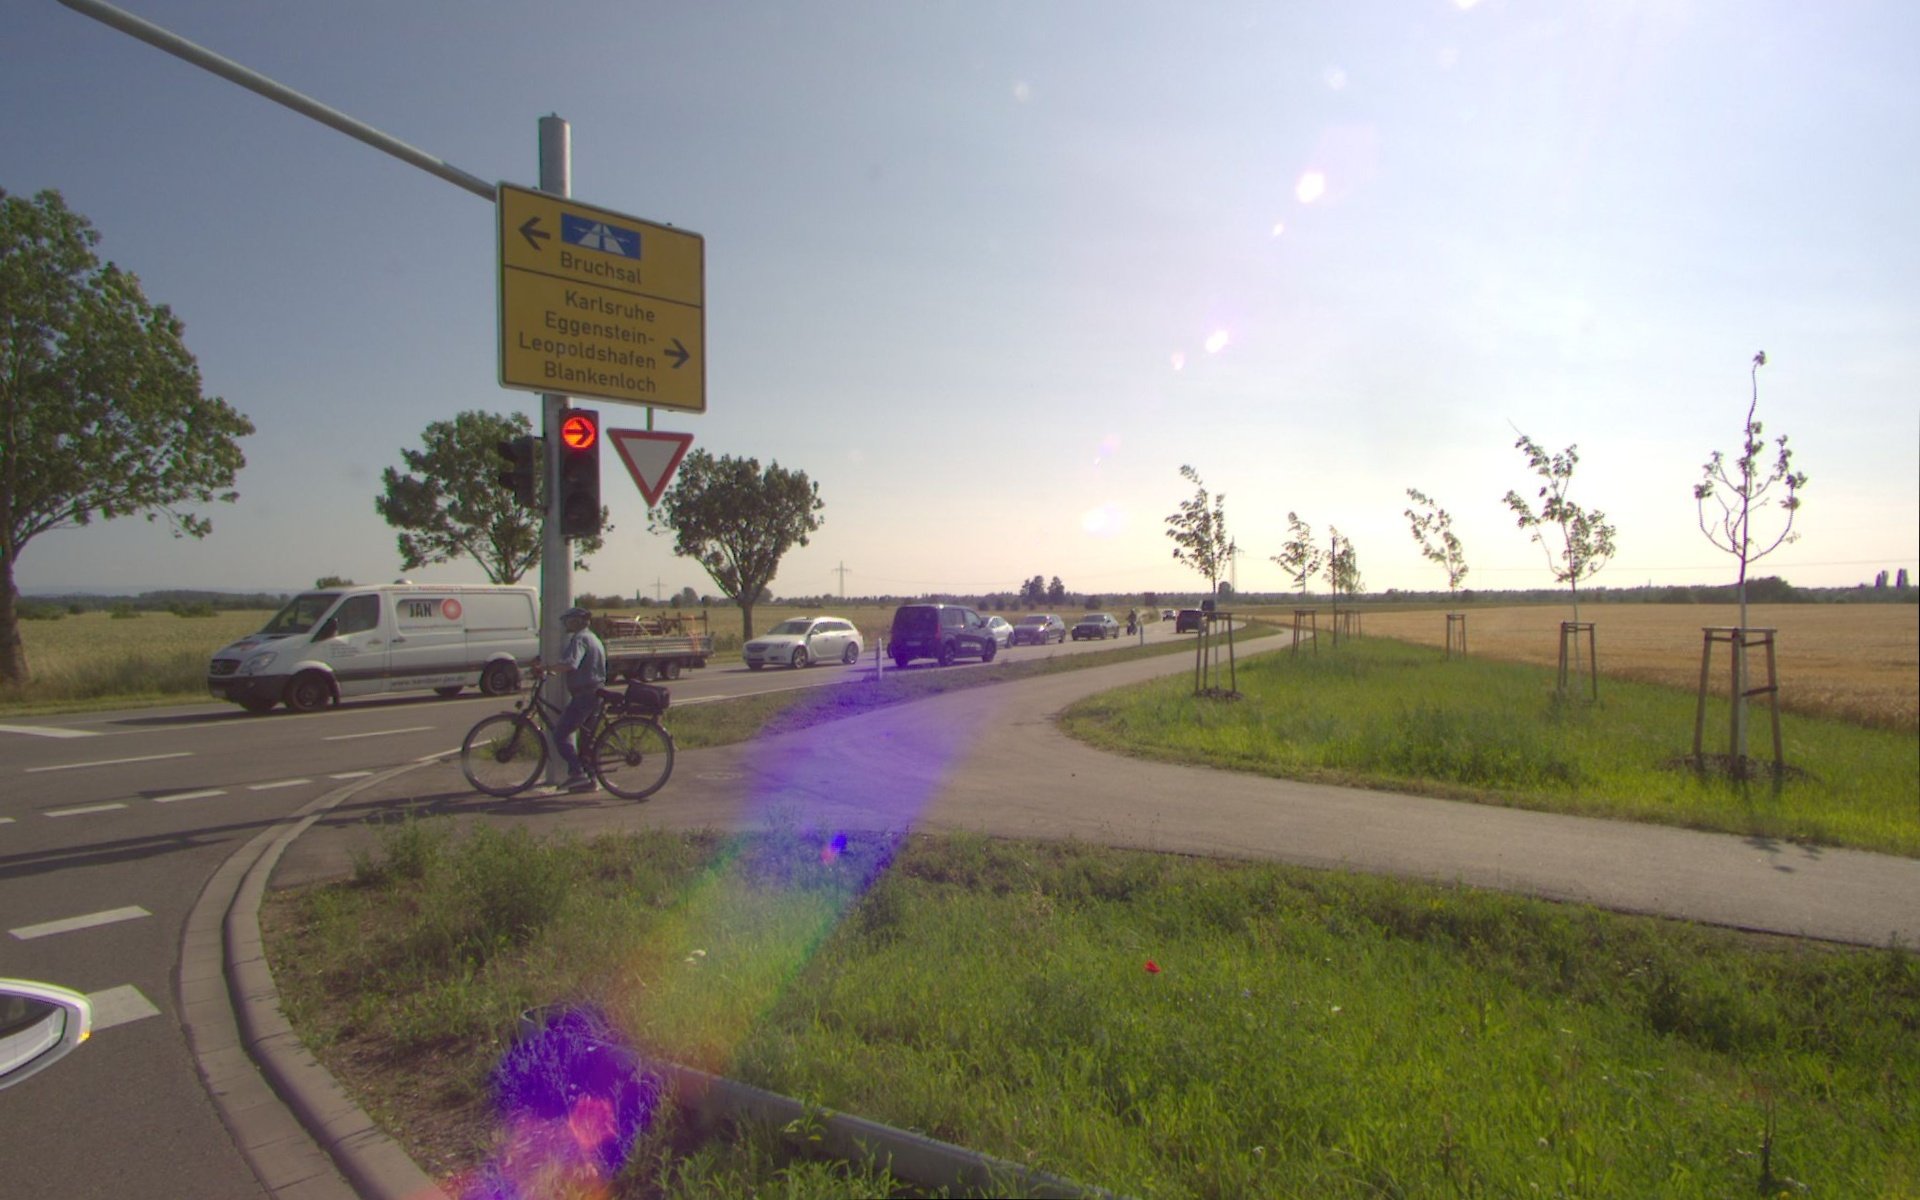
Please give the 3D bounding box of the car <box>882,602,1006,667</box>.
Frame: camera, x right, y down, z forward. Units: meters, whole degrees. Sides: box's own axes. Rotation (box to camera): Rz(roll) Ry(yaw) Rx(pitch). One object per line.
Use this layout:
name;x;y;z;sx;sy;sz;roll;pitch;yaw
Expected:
car;-0.400;1.044;31.008;1.818;1.857;4.447;-1;-1;30

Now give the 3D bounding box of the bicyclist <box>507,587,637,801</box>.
bicyclist;-3.383;0.819;8.809;0.901;1.787;0.619;3;-2;-13

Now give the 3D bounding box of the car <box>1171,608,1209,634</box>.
car;16.026;1.448;69.536;1.945;1.703;4.096;-1;-1;22

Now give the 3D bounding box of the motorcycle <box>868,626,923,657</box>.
motorcycle;-2.333;1.492;36.577;0.885;1.057;2.419;-1;0;26

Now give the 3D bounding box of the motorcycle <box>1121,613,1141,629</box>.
motorcycle;11.419;1.392;66.843;0.859;1.087;1.962;-1;0;25

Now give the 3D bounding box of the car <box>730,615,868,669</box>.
car;-4.857;1.246;30.857;1.738;1.511;4.689;-1;-1;28

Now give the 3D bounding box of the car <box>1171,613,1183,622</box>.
car;40.586;3.285;187.003;1.899;1.715;3.887;0;-2;8

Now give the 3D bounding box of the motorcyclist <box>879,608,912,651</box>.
motorcyclist;-2.346;1.068;36.513;0.670;1.535;1.176;-1;0;27

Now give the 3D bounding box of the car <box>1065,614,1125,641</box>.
car;7.725;1.537;56.909;1.866;1.455;4.779;-1;-1;27

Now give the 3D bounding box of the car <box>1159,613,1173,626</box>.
car;28.763;2.721;139.792;1.855;1.646;3.999;-3;-2;11

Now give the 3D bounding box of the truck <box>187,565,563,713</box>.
truck;-11.113;0.696;19.710;2.041;2.436;6.168;-1;-1;31

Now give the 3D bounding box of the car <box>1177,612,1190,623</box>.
car;37.505;2.956;168.037;1.899;1.822;3.886;0;-2;8

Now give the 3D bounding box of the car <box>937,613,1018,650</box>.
car;0.803;1.319;42.980;1.866;1.486;4.261;0;0;26

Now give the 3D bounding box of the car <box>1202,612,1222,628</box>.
car;32.086;2.572;127.679;2.022;2.039;4.001;0;-2;8

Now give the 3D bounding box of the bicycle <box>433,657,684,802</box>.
bicycle;-3.450;1.129;8.779;1.910;1.165;0.681;3;-2;-13

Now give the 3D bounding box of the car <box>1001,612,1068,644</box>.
car;3.702;1.366;49.234;1.866;1.480;4.292;-1;-1;25

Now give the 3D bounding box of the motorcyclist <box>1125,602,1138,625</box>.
motorcyclist;11.442;0.925;66.786;0.669;1.515;0.844;-1;0;25

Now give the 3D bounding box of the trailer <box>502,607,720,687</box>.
trailer;-8.382;1.078;24.579;1.951;1.760;4.989;-2;-1;30
